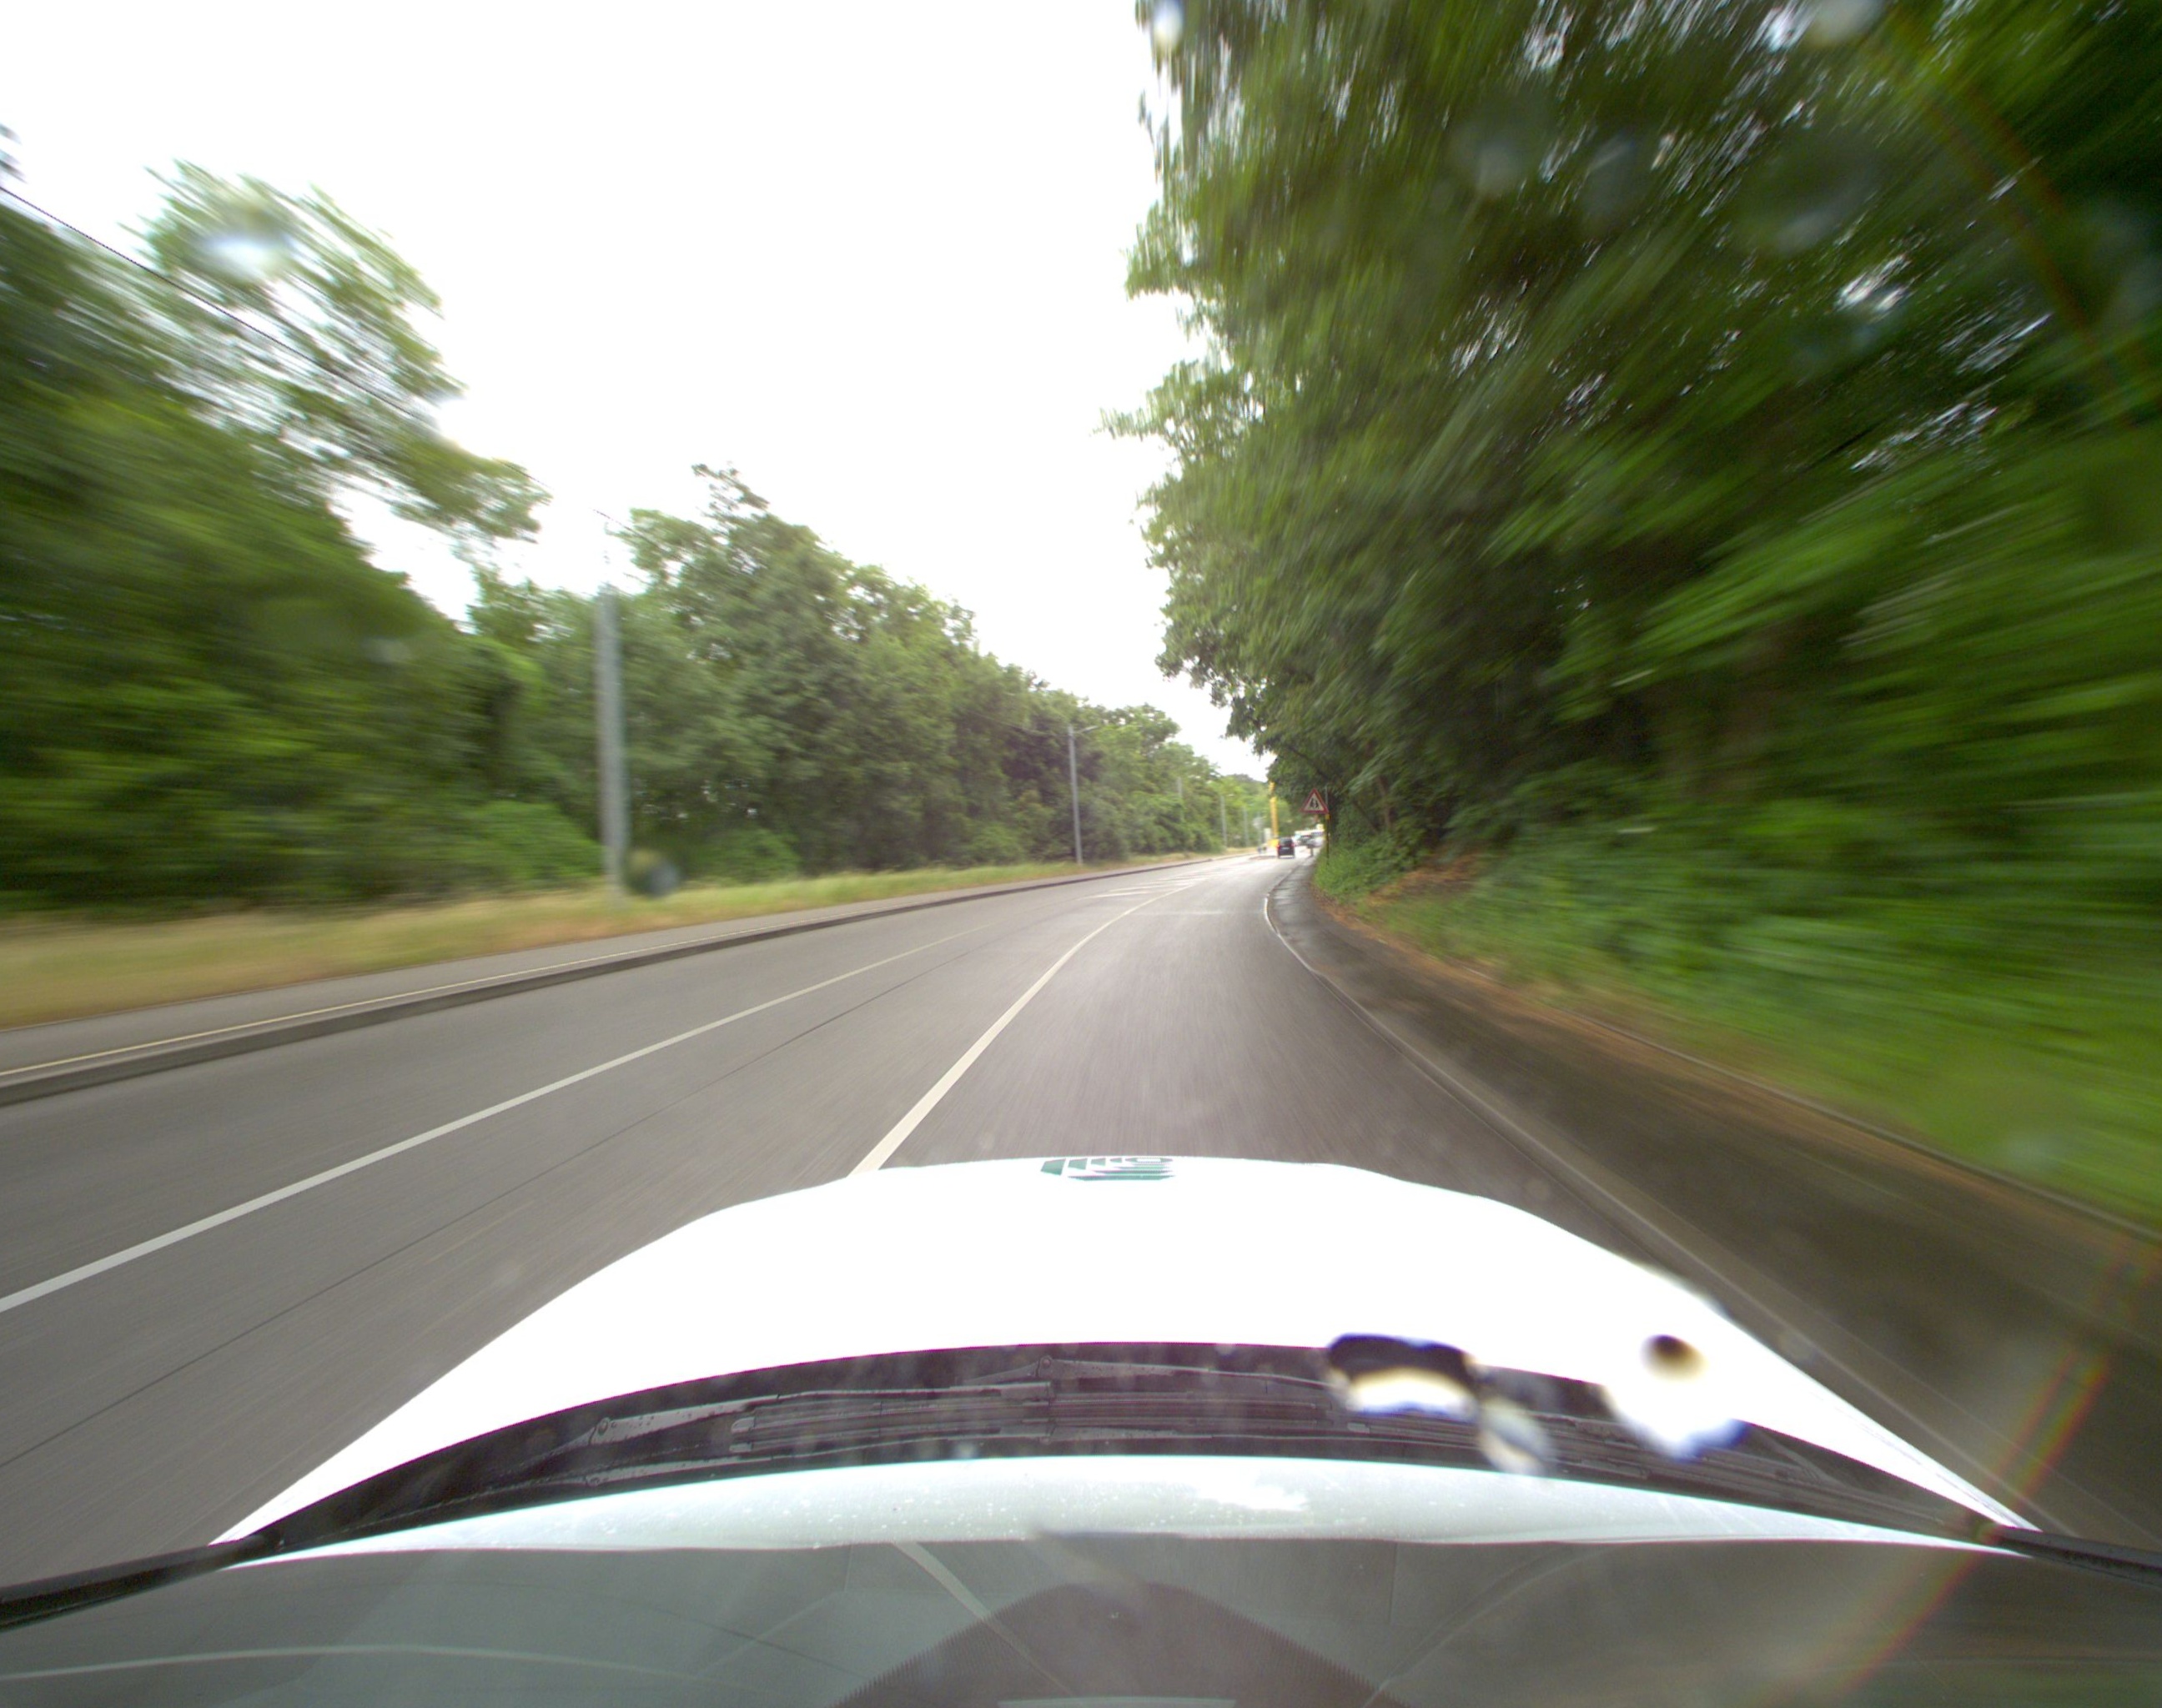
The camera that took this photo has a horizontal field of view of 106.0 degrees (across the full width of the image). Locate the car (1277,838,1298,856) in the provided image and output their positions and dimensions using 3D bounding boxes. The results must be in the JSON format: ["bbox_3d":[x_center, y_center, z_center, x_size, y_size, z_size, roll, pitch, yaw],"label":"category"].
[{"bbox_3d":[19.365,-0.696,76.265,1.654,1.593,3.700,-2,0,18],"label":"car"}]

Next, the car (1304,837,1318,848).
[{"bbox_3d":[37.663,-1.871,133.289,1.978,1.772,4.134,-2,0,18],"label":"car"}]

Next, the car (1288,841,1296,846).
[{"bbox_3d":[61.212,-3.092,236.451,1.732,1.552,3.860,-2,0,4],"label":"car"}]
